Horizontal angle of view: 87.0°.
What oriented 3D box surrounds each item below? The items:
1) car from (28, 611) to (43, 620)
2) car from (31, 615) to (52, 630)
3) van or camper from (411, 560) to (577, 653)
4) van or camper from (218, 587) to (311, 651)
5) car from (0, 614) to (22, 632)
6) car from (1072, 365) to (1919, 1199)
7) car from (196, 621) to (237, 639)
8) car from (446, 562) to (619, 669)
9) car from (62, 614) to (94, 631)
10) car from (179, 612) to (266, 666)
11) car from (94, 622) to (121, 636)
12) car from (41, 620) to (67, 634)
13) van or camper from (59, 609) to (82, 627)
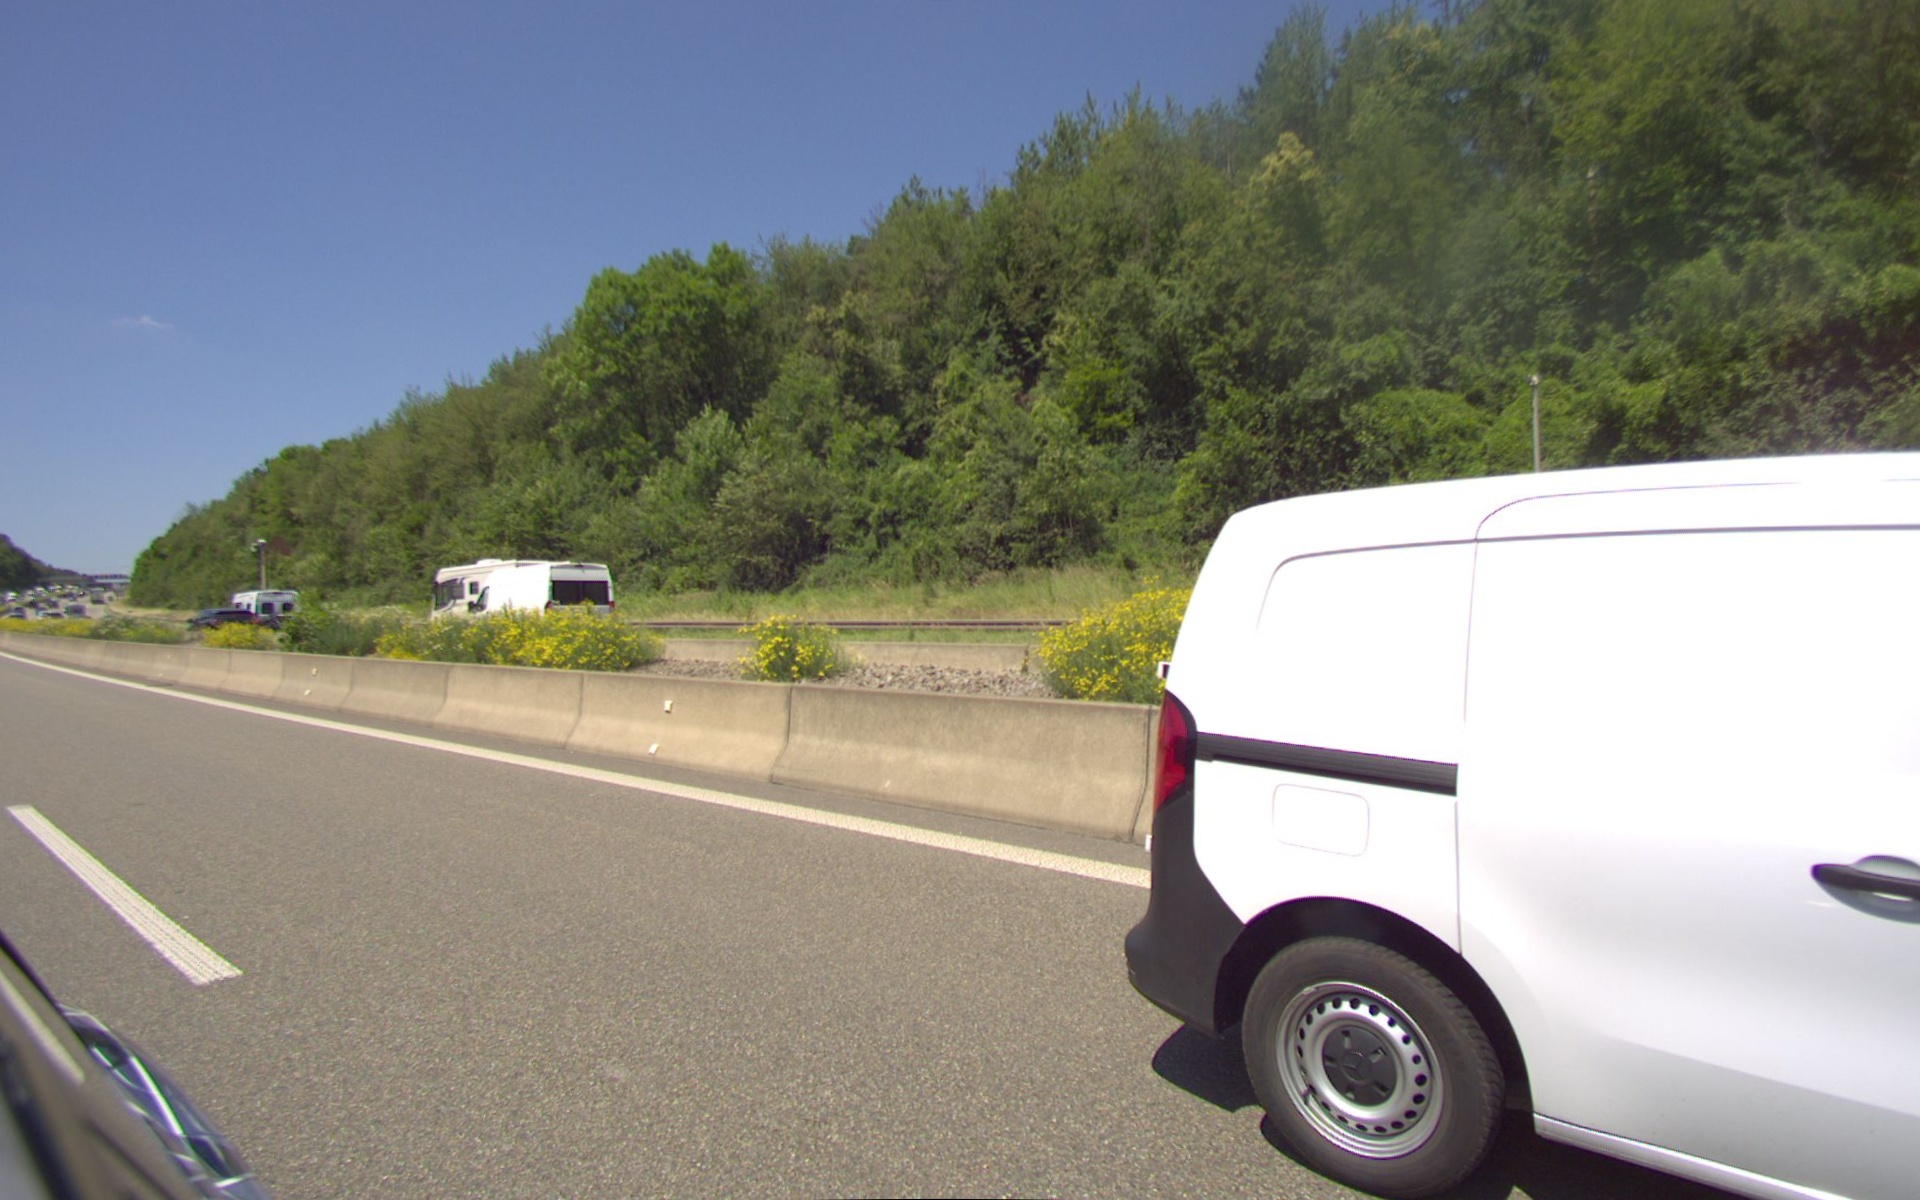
[{"bbox_3d":[-175.024,2.896,191.546,1.971,1.703,4.404,0,0,-45],"label":"car"},{"bbox_3d":[-133.771,3.273,147.415,4.569,2.029,1.971,0,0,44],"label":"car"},{"bbox_3d":[-18.673,0.228,40.188,8.998,3.342,2.513,0,0,41],"label":"van or camper"},{"bbox_3d":[-34.041,0.917,49.472,6.554,2.921,2.234,-1,-1,42],"label":"van or camper"},{"bbox_3d":[-115.061,2.763,122.535,4.001,2.029,1.971,0,0,44],"label":"car"},{"bbox_3d":[2.668,0.488,2.106,4.671,1.826,1.747,-1,-1,41],"label":"car"},{"bbox_3d":[-64.079,2.583,87.205,4.190,1.443,1.973,-1,-1,42],"label":"car"},{"bbox_3d":[-12.214,0.448,28.705,5.743,2.762,2.178,-2,-1,41],"label":"car"},{"bbox_3d":[-87.260,2.254,100.121,4.272,1.599,1.972,-1,-1,42],"label":"car"},{"bbox_3d":[-28.432,1.454,38.975,4.000,1.940,1.972,-1,0,43],"label":"car"},{"bbox_3d":[-95.061,3.188,112.816,3.999,1.467,1.769,0,0,42],"label":"car"},{"bbox_3d":[-110.909,3.263,123.861,4.162,1.602,1.972,0,0,42],"label":"car"},{"bbox_3d":[-138.677,2.774,157.748,6.933,2.579,2.162,0,0,44],"label":"van or camper"}]
